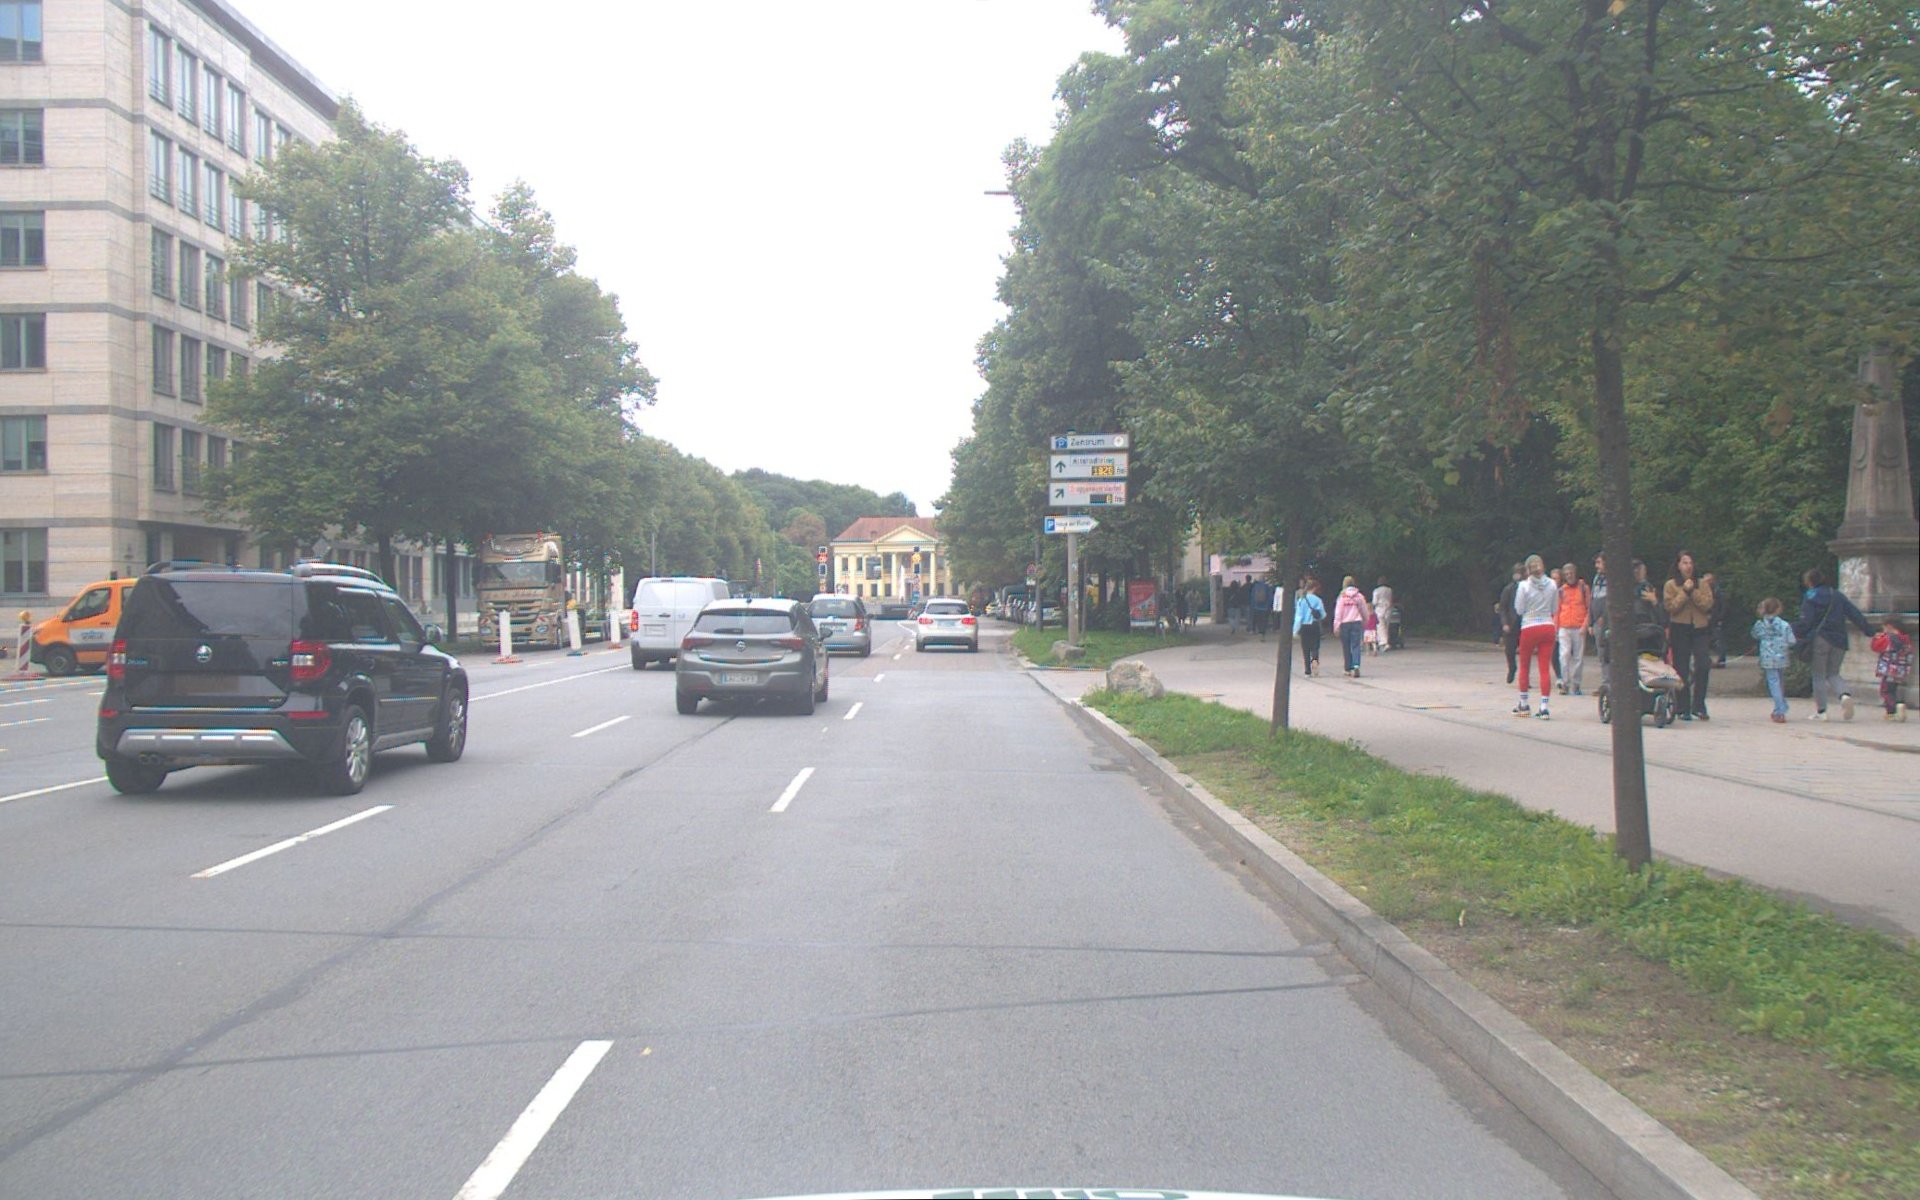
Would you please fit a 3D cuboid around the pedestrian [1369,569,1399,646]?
[{"bbox_3d":[9.507,0.163,37.098,0.618,1.696,0.573,1,-1,15],"label":"pedestrian"}]

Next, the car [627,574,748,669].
[{"bbox_3d":[-5.778,0.457,35.621,1.860,1.880,4.954,-1,-1,-1],"label":"car"}]

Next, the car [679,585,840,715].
[{"bbox_3d":[-2.612,0.632,22.385,1.675,1.579,4.000,1,0,0],"label":"car"}]

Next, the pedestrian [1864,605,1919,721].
[{"bbox_3d":[9.664,0.638,16.977,0.448,1.173,0.648,1,-1,4],"label":"pedestrian"}]

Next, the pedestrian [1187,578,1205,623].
[{"bbox_3d":[9.587,0.019,67.269,0.617,1.805,0.782,1,-1,3],"label":"pedestrian"}]

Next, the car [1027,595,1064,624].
[{"bbox_3d":[4.712,0.535,91.569,1.790,1.577,4.751,-1,-1,0],"label":"car"}]

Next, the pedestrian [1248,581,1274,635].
[{"bbox_3d":[9.819,0.263,53.961,0.738,1.767,0.850,1,-1,15],"label":"pedestrian"}]

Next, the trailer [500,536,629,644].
[{"bbox_3d":[-15.196,-0.320,64.561,2.891,3.806,11.761,1,0,-4],"label":"trailer"}]

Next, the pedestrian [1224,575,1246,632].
[{"bbox_3d":[8.766,0.115,52.789,0.595,1.794,0.797,1,-1,3],"label":"pedestrian"}]

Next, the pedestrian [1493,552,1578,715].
[{"bbox_3d":[6.226,0.358,17.911,0.711,1.720,0.648,1,-1,4],"label":"pedestrian"}]

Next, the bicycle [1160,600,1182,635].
[{"bbox_3d":[6.349,0.515,49.760,0.376,1.039,2.079,1,0,0],"label":"bicycle"}]

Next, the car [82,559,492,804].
[{"bbox_3d":[-5.234,0.584,13.506,1.687,1.665,4.203,-1,-1,-1],"label":"car"}]

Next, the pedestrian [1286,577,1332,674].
[{"bbox_3d":[6.113,0.439,28.929,0.738,1.672,0.850,1,-1,15],"label":"pedestrian"}]

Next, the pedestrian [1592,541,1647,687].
[{"bbox_3d":[8.790,0.187,22.050,0.596,1.905,0.693,1,-1,16],"label":"pedestrian"}]

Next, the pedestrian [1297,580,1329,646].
[{"bbox_3d":[9.085,0.341,42.553,0.738,1.672,0.691,1,-1,15],"label":"pedestrian"}]

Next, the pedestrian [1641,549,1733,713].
[{"bbox_3d":[7.788,0.327,17.736,0.711,1.720,0.648,1,-1,4],"label":"pedestrian"}]

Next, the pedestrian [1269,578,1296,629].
[{"bbox_3d":[10.578,0.122,54.248,0.669,1.666,0.661,1,-1,-12],"label":"pedestrian"}]

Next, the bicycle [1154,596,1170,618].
[{"bbox_3d":[13.235,0.450,108.398,0.685,1.440,2.298,-1,-1,0],"label":"bicycle"}]

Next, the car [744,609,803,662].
[{"bbox_3d":[-6.249,1.156,55.635,1.744,1.683,3.997,1,0,-4],"label":"car"}]

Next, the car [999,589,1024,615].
[{"bbox_3d":[3.795,0.155,122.345,1.689,1.900,4.027,-1,-1,0],"label":"car"}]

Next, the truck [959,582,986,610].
[{"bbox_3d":[1.587,-0.501,214.041,3.257,3.426,8.661,1,0,-1],"label":"truck"}]

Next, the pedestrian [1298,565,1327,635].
[{"bbox_3d":[9.535,0.002,44.759,0.576,1.854,0.850,1,-1,0],"label":"pedestrian"}]

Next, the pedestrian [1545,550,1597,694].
[{"bbox_3d":[8.403,0.296,22.756,0.596,1.948,0.693,1,-1,16],"label":"pedestrian"}]

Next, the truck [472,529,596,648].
[{"bbox_3d":[-14.726,-0.350,57.764,2.859,3.841,7.658,1,0,-5],"label":"truck"}]

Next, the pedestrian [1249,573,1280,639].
[{"bbox_3d":[8.218,0.156,44.644,0.738,1.767,0.850,1,-1,15],"label":"pedestrian"}]

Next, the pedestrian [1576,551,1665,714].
[{"bbox_3d":[7.113,0.343,17.837,0.711,1.720,0.648,1,-1,4],"label":"pedestrian"}]

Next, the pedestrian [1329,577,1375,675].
[{"bbox_3d":[6.826,0.449,28.779,0.738,1.672,0.850,1,-1,15],"label":"pedestrian"}]

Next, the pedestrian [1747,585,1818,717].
[{"bbox_3d":[8.597,0.527,17.296,0.448,1.349,0.648,1,-1,4],"label":"pedestrian"}]

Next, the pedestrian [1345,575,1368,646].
[{"bbox_3d":[8.966,0.242,37.428,0.474,1.593,0.573,1,-1,15],"label":"pedestrian"}]

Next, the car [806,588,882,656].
[{"bbox_3d":[-2.988,0.568,43.269,1.743,1.683,3.999,1,0,-1],"label":"car"}]

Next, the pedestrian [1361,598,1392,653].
[{"bbox_3d":[8.903,0.543,35.325,0.618,1.157,0.573,1,-1,15],"label":"pedestrian"}]

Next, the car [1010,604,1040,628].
[{"bbox_3d":[4.276,1.032,108.710,1.785,1.490,4.027,-1,-1,0],"label":"car"}]

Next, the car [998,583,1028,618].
[{"bbox_3d":[4.139,0.077,129.598,1.953,2.689,4.875,1,0,-2],"label":"car"}]

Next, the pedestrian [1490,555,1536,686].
[{"bbox_3d":[8.196,0.299,24.546,0.596,1.905,0.693,1,-1,16],"label":"pedestrian"}]

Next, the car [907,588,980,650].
[{"bbox_3d":[-0.508,0.529,47.532,1.745,1.673,3.995,1,0,-6],"label":"car"}]

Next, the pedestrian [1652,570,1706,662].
[{"bbox_3d":[12.761,0.277,29.358,0.685,1.605,0.604,1,-1,-36],"label":"pedestrian"}]

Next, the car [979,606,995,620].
[{"bbox_3d":[2.861,1.388,176.537,1.689,1.347,4.027,-1,-1,0],"label":"car"}]

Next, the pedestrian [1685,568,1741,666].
[{"bbox_3d":[13.095,0.293,28.760,0.684,1.680,0.604,1,-1,-34],"label":"pedestrian"}]

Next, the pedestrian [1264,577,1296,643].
[{"bbox_3d":[8.254,0.261,42.648,0.738,1.672,0.651,1,-1,15],"label":"pedestrian"}]

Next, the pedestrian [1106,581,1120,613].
[{"bbox_3d":[9.654,-0.186,104.405,0.748,1.944,0.771,1,-1,0],"label":"pedestrian"}]

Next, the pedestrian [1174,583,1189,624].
[{"bbox_3d":[9.393,0.138,70.002,0.568,1.705,0.553,1,-1,3],"label":"pedestrian"}]

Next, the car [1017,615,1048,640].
[{"bbox_3d":[4.501,1.695,103.411,1.689,1.490,4.775,-1,-1,0],"label":"car"}]

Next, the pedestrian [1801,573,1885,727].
[{"bbox_3d":[9.111,0.507,17.085,0.538,1.554,0.648,1,-1,4],"label":"pedestrian"}]

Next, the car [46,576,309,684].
[{"bbox_3d":[-19.667,0.741,41.769,5.569,2.581,2.154,-1,0,-5],"label":"car"}]

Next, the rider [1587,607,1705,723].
[{"bbox_3d":[6.984,0.642,16.892,0.748,1.131,1.245,1,-1,4],"label":"rider"}]

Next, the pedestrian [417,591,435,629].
[{"bbox_3d":[-24.885,0.483,77.093,0.566,1.762,0.764,1,-1,0],"label":"pedestrian"}]
